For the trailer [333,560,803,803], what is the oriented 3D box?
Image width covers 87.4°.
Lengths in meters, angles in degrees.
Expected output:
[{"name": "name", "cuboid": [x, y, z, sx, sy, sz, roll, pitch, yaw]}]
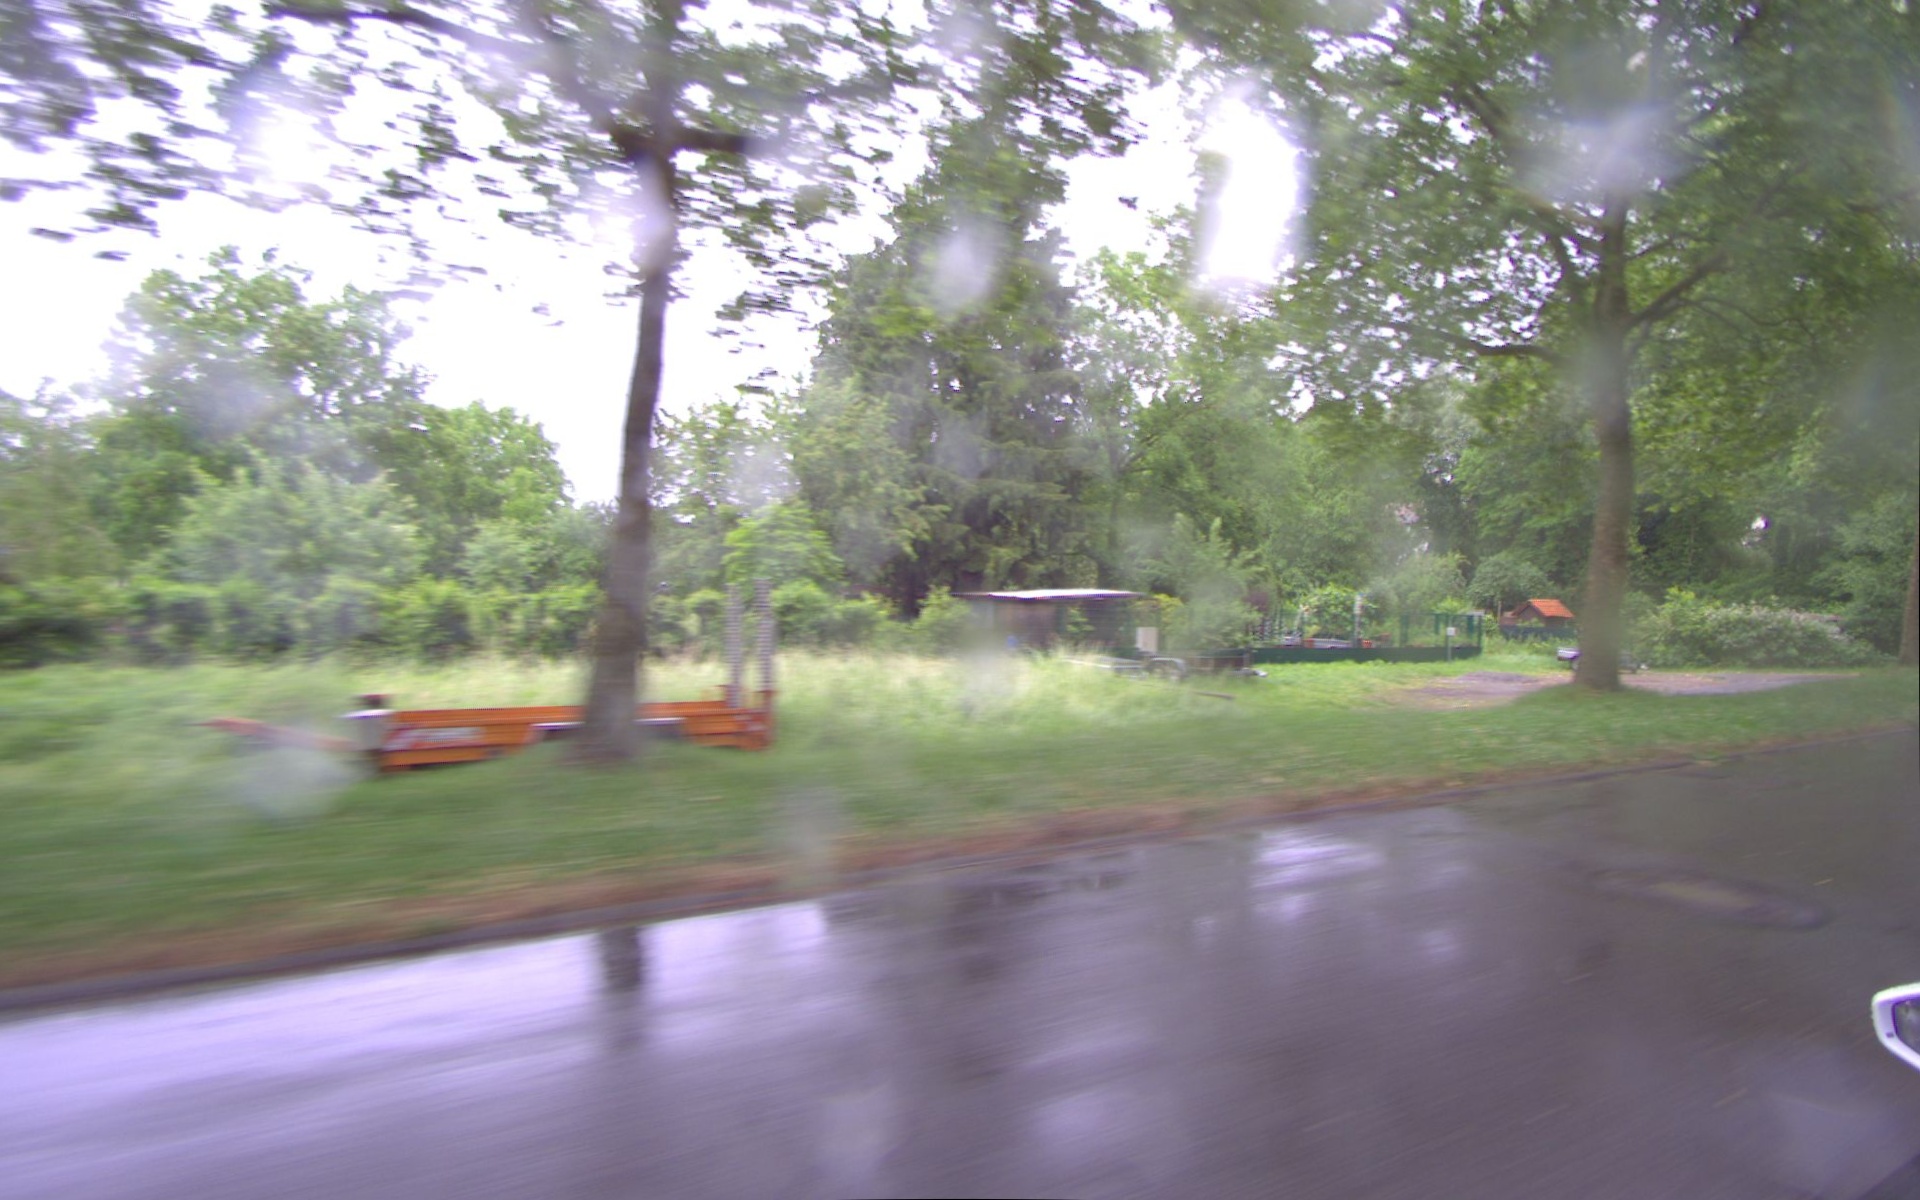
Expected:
[{"name": "trailer", "cuboid": [-4.996, 0.879, 13.122, 5.268, 2.602, 2.473, 1, 1, -30]}]

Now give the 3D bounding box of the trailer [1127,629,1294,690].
[{"name": "trailer", "cuboid": [6.828, 1.571, 27.739, 1.981, 1.394, 4.203, 0, 0, -36]}]

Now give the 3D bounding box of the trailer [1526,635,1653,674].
[{"name": "trailer", "cuboid": [22.876, 1.938, 36.602, 1.805, 1.194, 3.528, 0, 0, -36]}]
